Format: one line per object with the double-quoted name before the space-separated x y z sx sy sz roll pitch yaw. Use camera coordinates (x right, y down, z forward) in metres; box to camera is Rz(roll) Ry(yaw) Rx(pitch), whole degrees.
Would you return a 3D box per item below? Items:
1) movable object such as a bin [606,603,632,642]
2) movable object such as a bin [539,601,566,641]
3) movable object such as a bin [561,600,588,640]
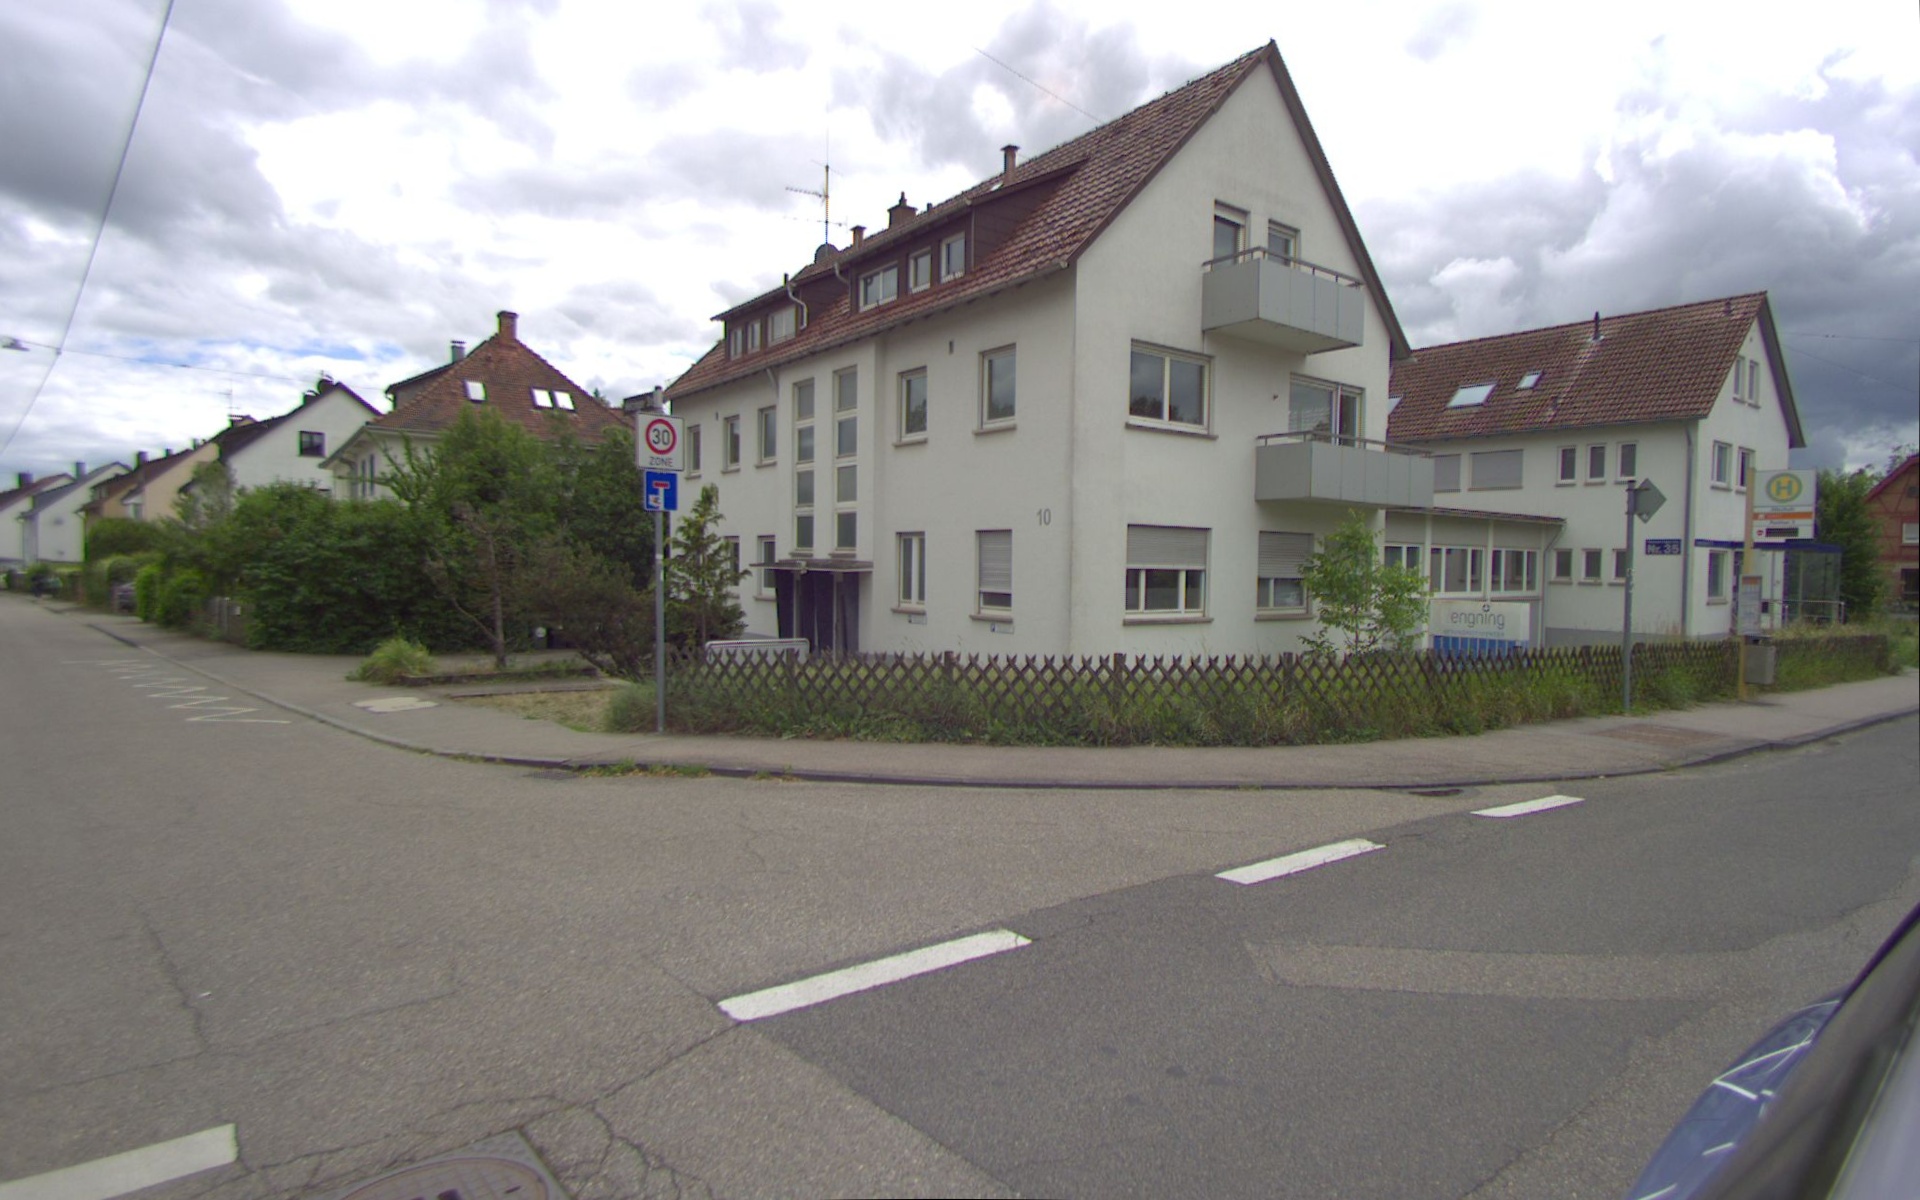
"movable object such as a bin" -10.674 0.692 31.705 0.624 1.185 0.564 1 -1 -36
"movable object such as a bin" -12.281 0.637 30.518 0.624 1.185 0.564 1 -1 -36
"movable object such as a bin" -11.758 0.605 30.900 0.624 1.185 0.564 1 -1 -36
